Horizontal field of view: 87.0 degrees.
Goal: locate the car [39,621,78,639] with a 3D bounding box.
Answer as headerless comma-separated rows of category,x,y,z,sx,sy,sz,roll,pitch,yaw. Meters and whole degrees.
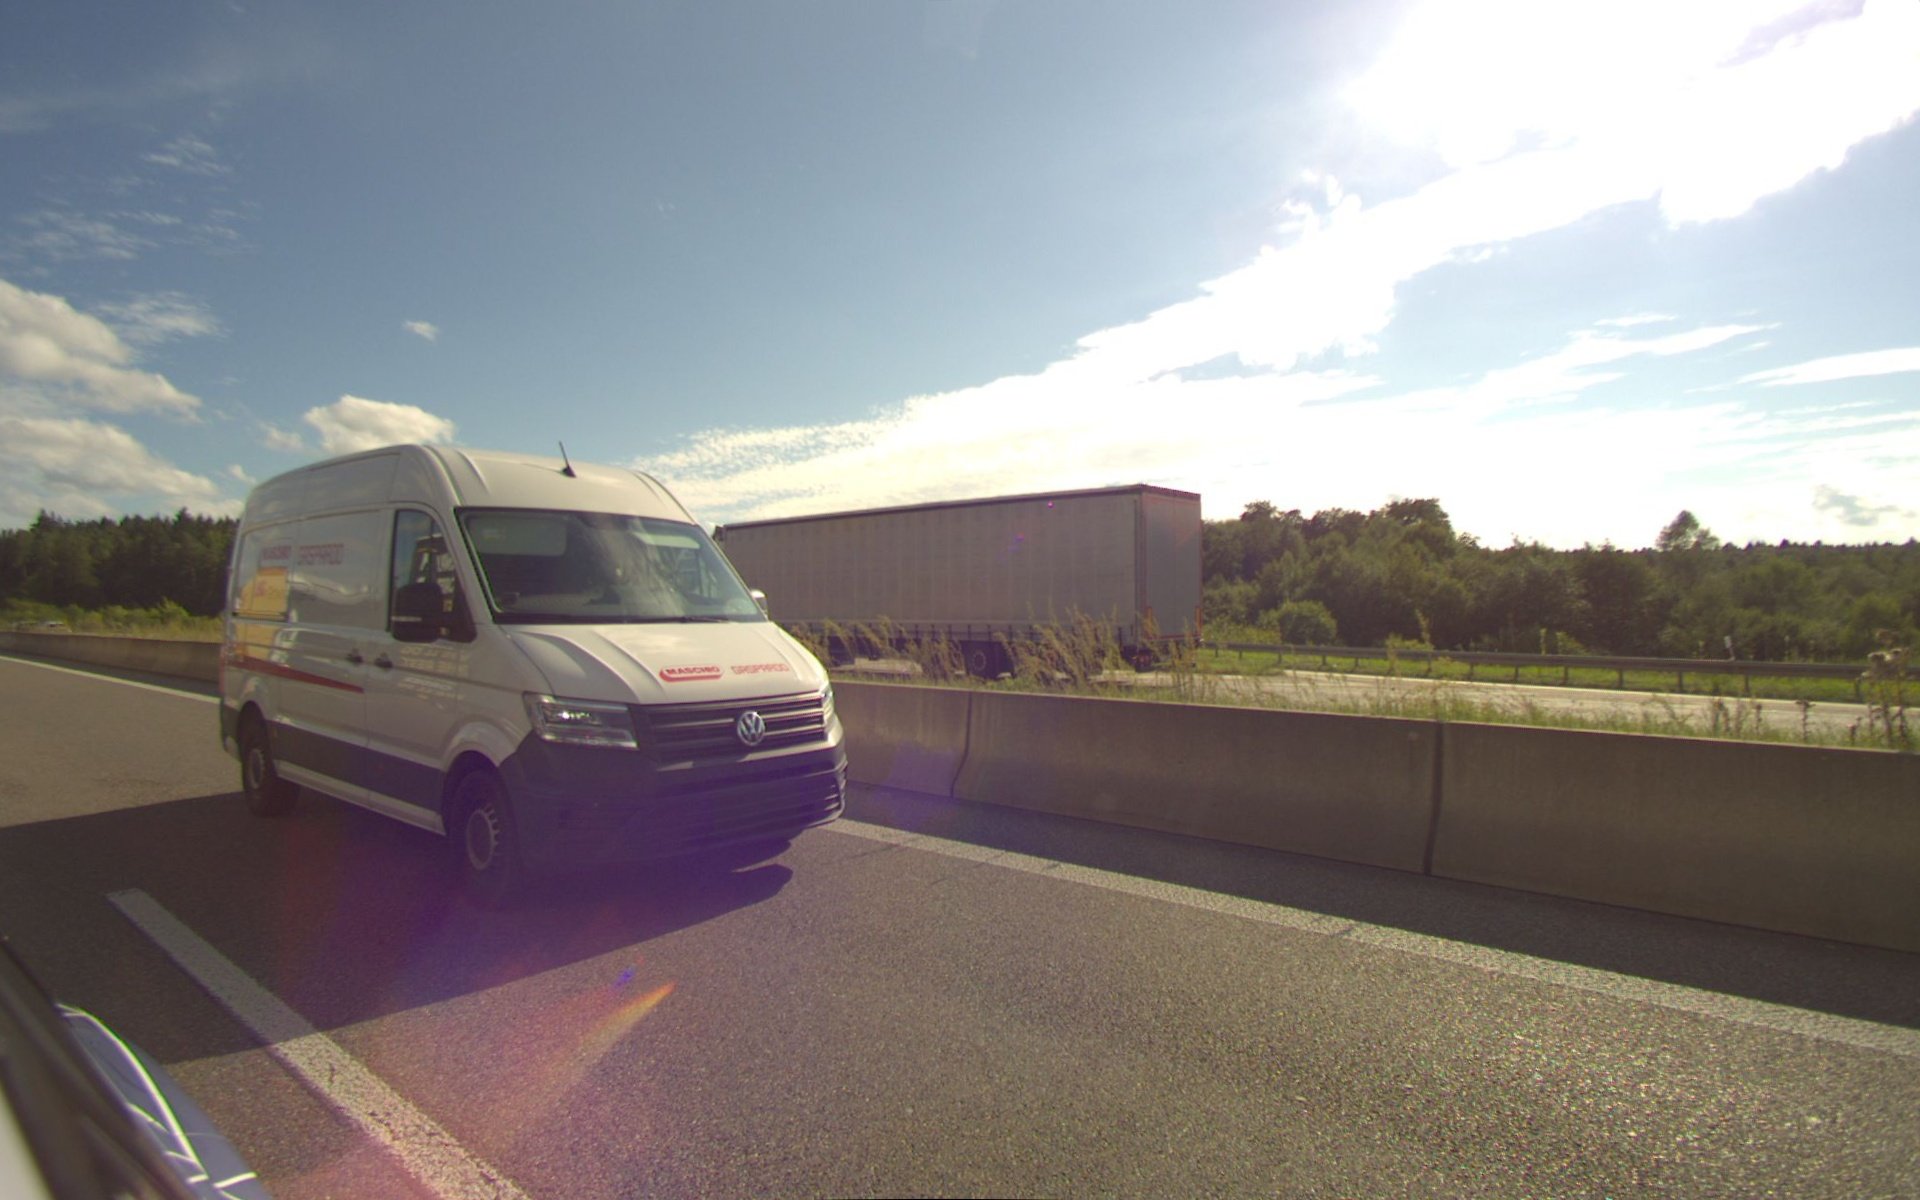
car,-80.287,2.649,90.113,4.931,1.487,1.899,-1,1,41

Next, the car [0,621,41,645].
car,-70.036,2.422,75.405,4.249,1.706,1.796,-1,-1,41

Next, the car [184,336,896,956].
car,-3.372,0.271,7.051,6.177,2.619,1.995,-2,-2,40

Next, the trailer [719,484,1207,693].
trailer,-0.751,-0.130,24.998,13.542,4.022,2.803,-1,-1,41

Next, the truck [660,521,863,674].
truck,-5.865,-0.032,29.447,5.829,4.006,2.790,-1,-1,41
